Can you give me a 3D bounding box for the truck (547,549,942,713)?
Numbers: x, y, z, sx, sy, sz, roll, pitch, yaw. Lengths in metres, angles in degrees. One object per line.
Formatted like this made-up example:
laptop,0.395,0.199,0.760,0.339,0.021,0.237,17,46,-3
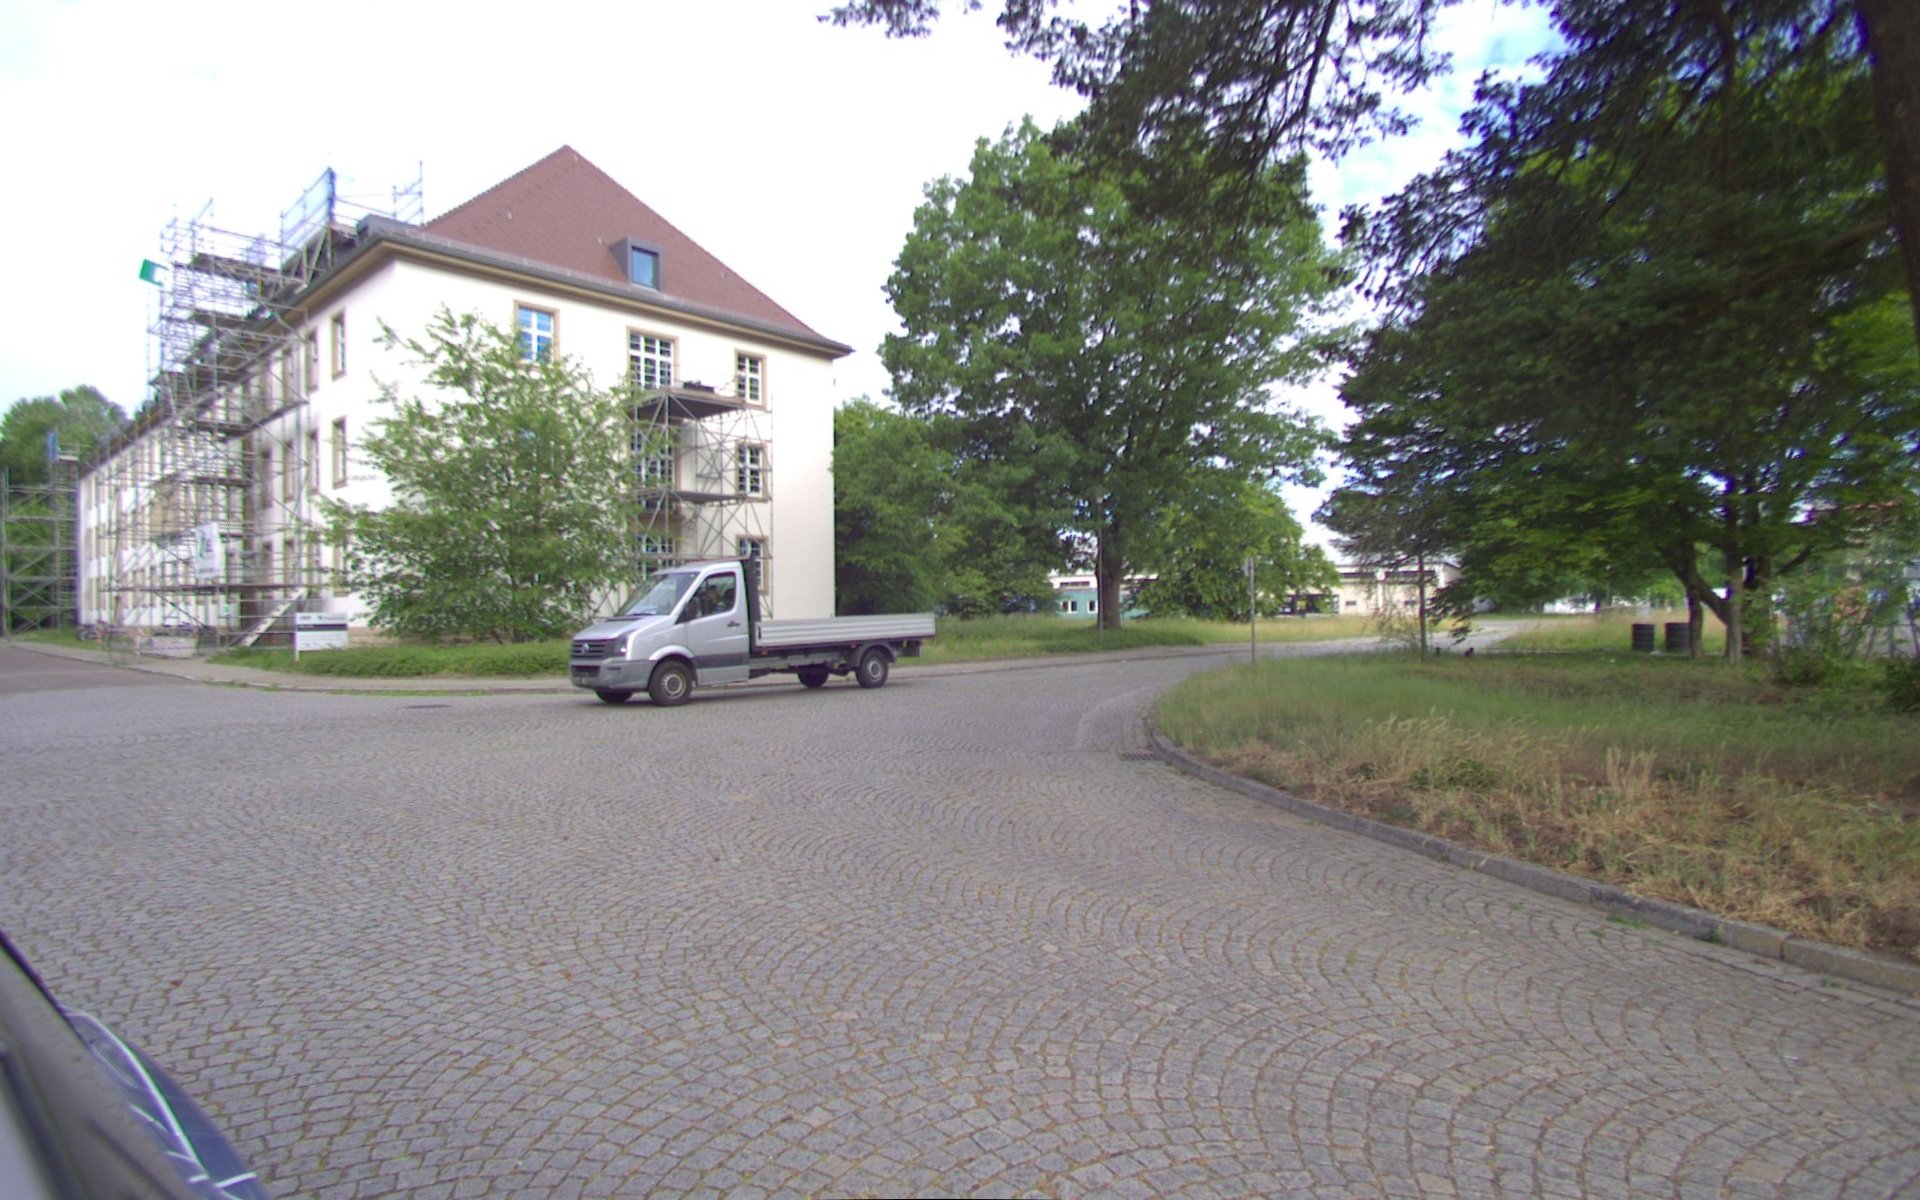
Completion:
truck,-3.459,0.486,17.973,1.993,2.384,6.988,-3,-2,42
